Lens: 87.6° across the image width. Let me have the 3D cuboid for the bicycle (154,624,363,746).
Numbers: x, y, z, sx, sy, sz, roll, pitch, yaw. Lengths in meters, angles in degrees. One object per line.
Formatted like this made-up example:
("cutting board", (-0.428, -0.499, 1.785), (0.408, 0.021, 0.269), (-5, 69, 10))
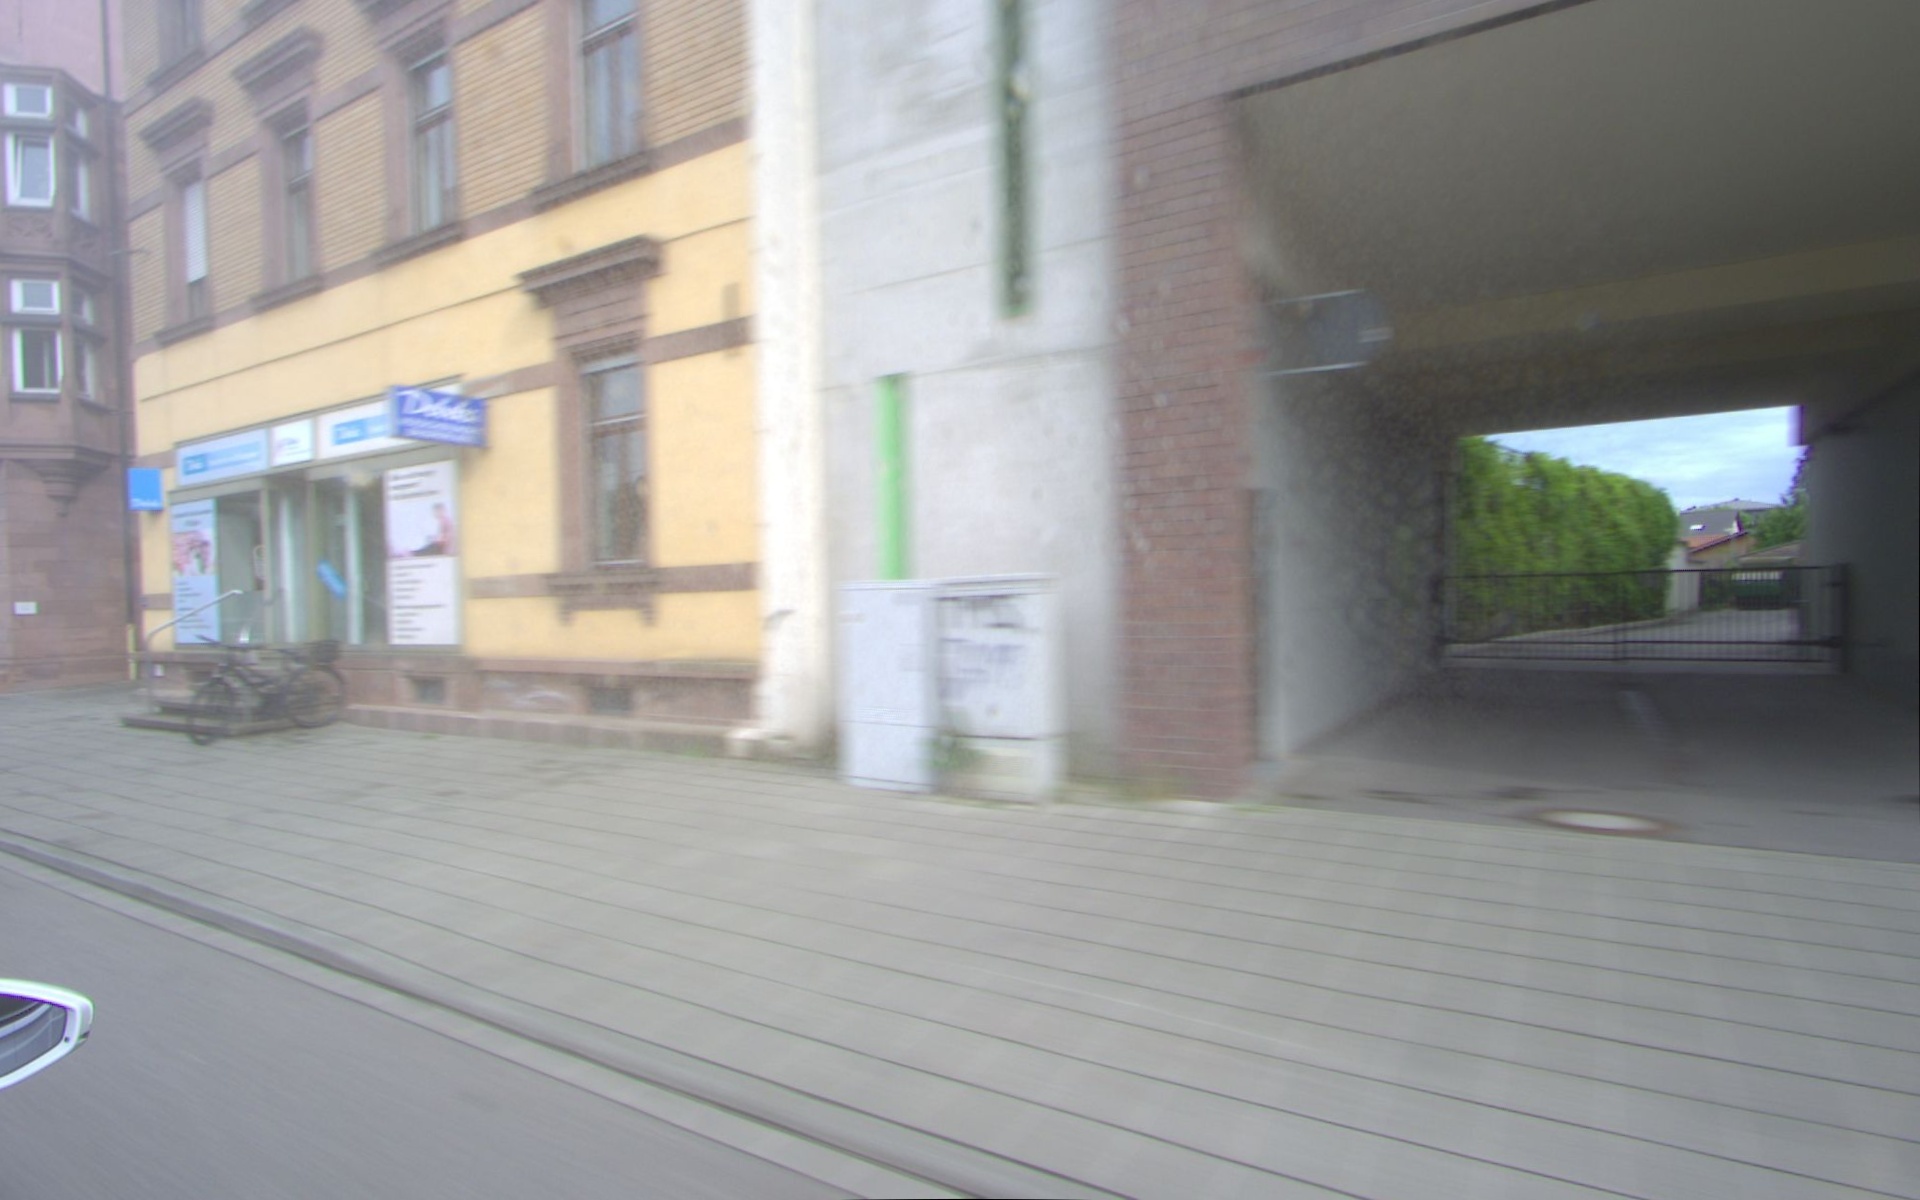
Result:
("bicycle", (-7.804, 0.897, 11.234), (0.633, 1.145, 1.773), (0, 3, 31))
